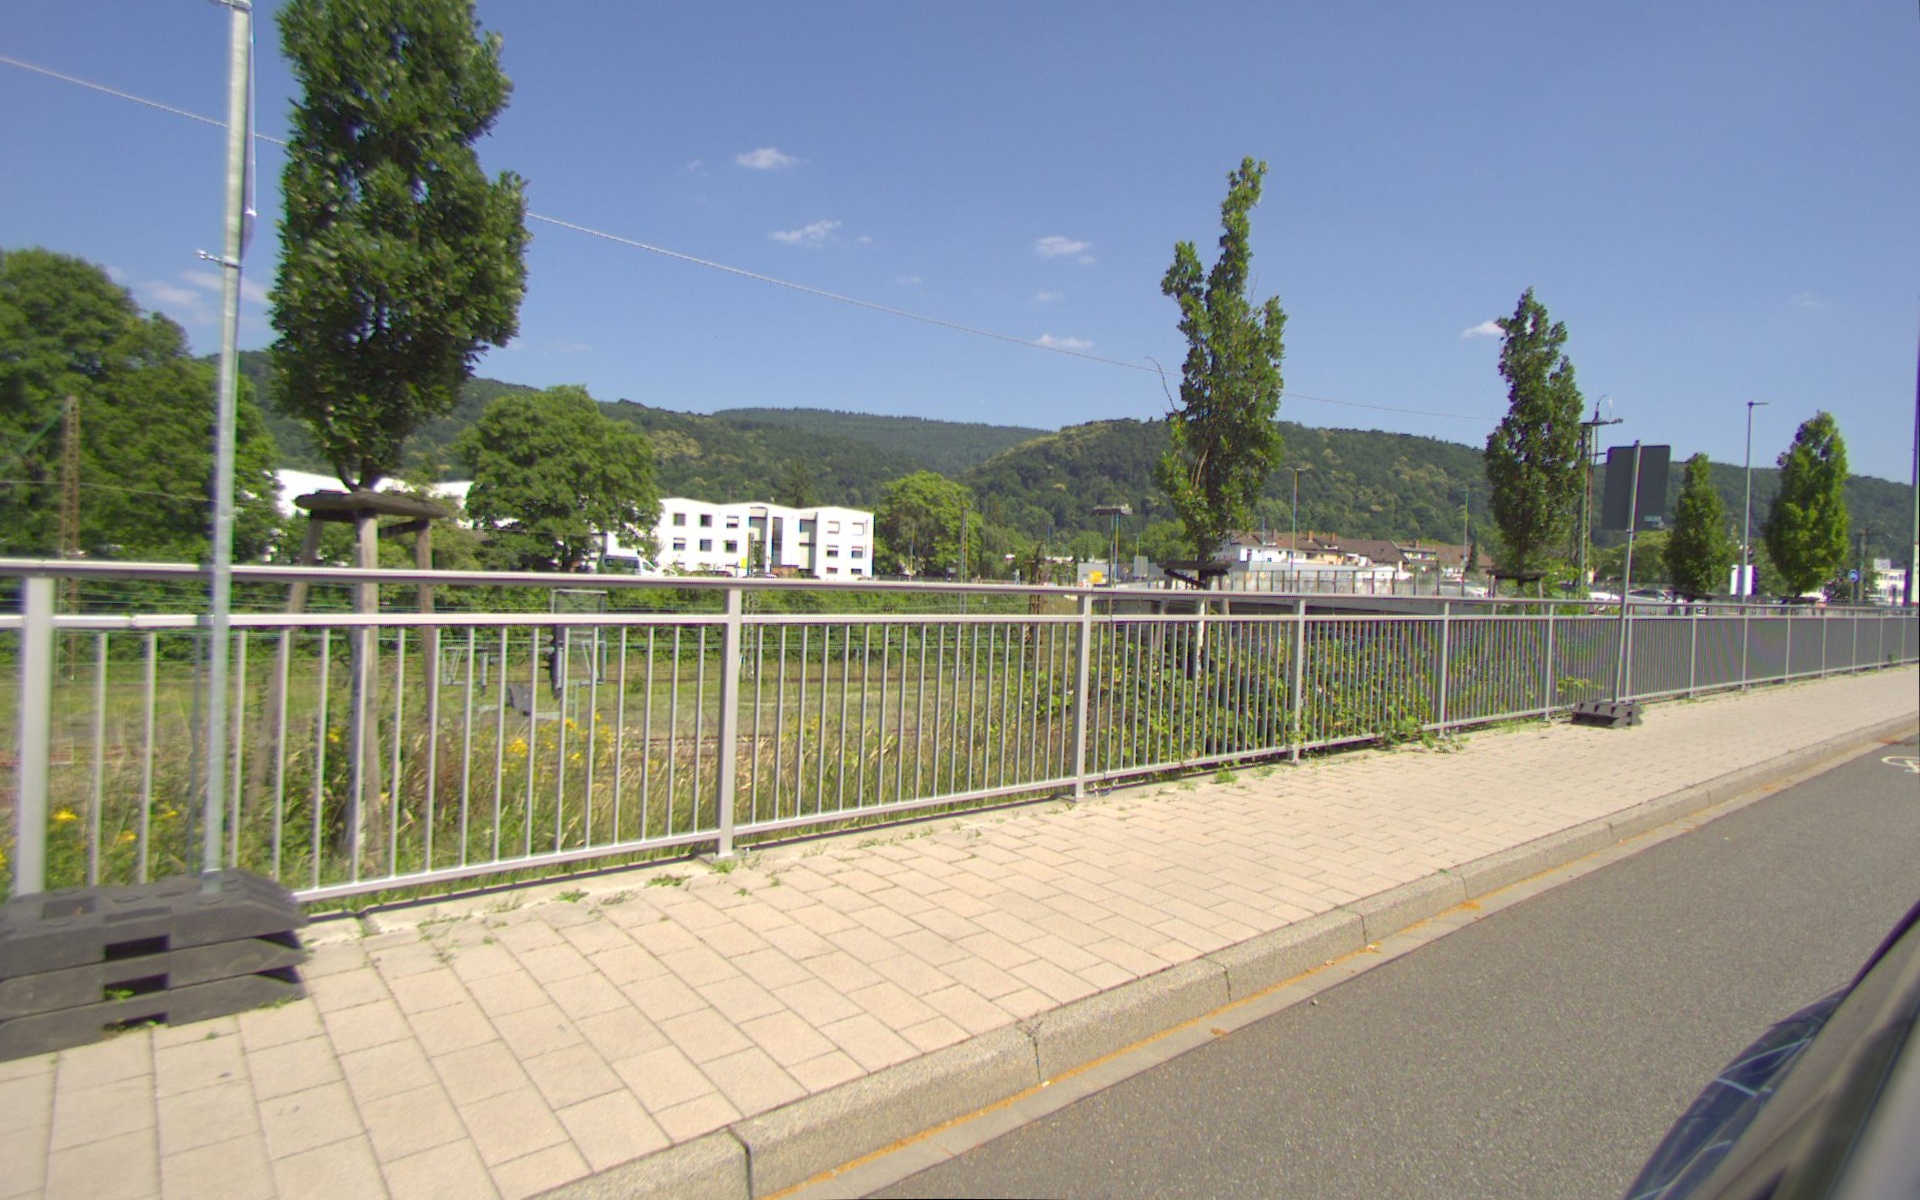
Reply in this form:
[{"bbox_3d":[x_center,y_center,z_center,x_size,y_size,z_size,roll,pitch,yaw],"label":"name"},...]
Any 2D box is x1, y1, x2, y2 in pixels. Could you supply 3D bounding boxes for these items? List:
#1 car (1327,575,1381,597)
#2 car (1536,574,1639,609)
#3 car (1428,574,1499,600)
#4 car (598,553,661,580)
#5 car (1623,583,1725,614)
[{"bbox_3d":[31.583,-1.135,81.272,1.700,1.646,4.452,2,1,-15],"label":"car"},{"bbox_3d":[34.891,-0.507,56.400,1.958,1.740,4.644,2,1,-19],"label":"car"},{"bbox_3d":[34.625,-0.901,69.673,1.700,1.646,4.453,2,1,-17],"label":"car"},{"bbox_3d":[-29.285,-2.955,89.709,4.894,2.139,2.001,1,1,-33],"label":"car"},{"bbox_3d":[38.616,-0.123,54.843,1.700,1.487,4.421,2,1,-14],"label":"car"}]
